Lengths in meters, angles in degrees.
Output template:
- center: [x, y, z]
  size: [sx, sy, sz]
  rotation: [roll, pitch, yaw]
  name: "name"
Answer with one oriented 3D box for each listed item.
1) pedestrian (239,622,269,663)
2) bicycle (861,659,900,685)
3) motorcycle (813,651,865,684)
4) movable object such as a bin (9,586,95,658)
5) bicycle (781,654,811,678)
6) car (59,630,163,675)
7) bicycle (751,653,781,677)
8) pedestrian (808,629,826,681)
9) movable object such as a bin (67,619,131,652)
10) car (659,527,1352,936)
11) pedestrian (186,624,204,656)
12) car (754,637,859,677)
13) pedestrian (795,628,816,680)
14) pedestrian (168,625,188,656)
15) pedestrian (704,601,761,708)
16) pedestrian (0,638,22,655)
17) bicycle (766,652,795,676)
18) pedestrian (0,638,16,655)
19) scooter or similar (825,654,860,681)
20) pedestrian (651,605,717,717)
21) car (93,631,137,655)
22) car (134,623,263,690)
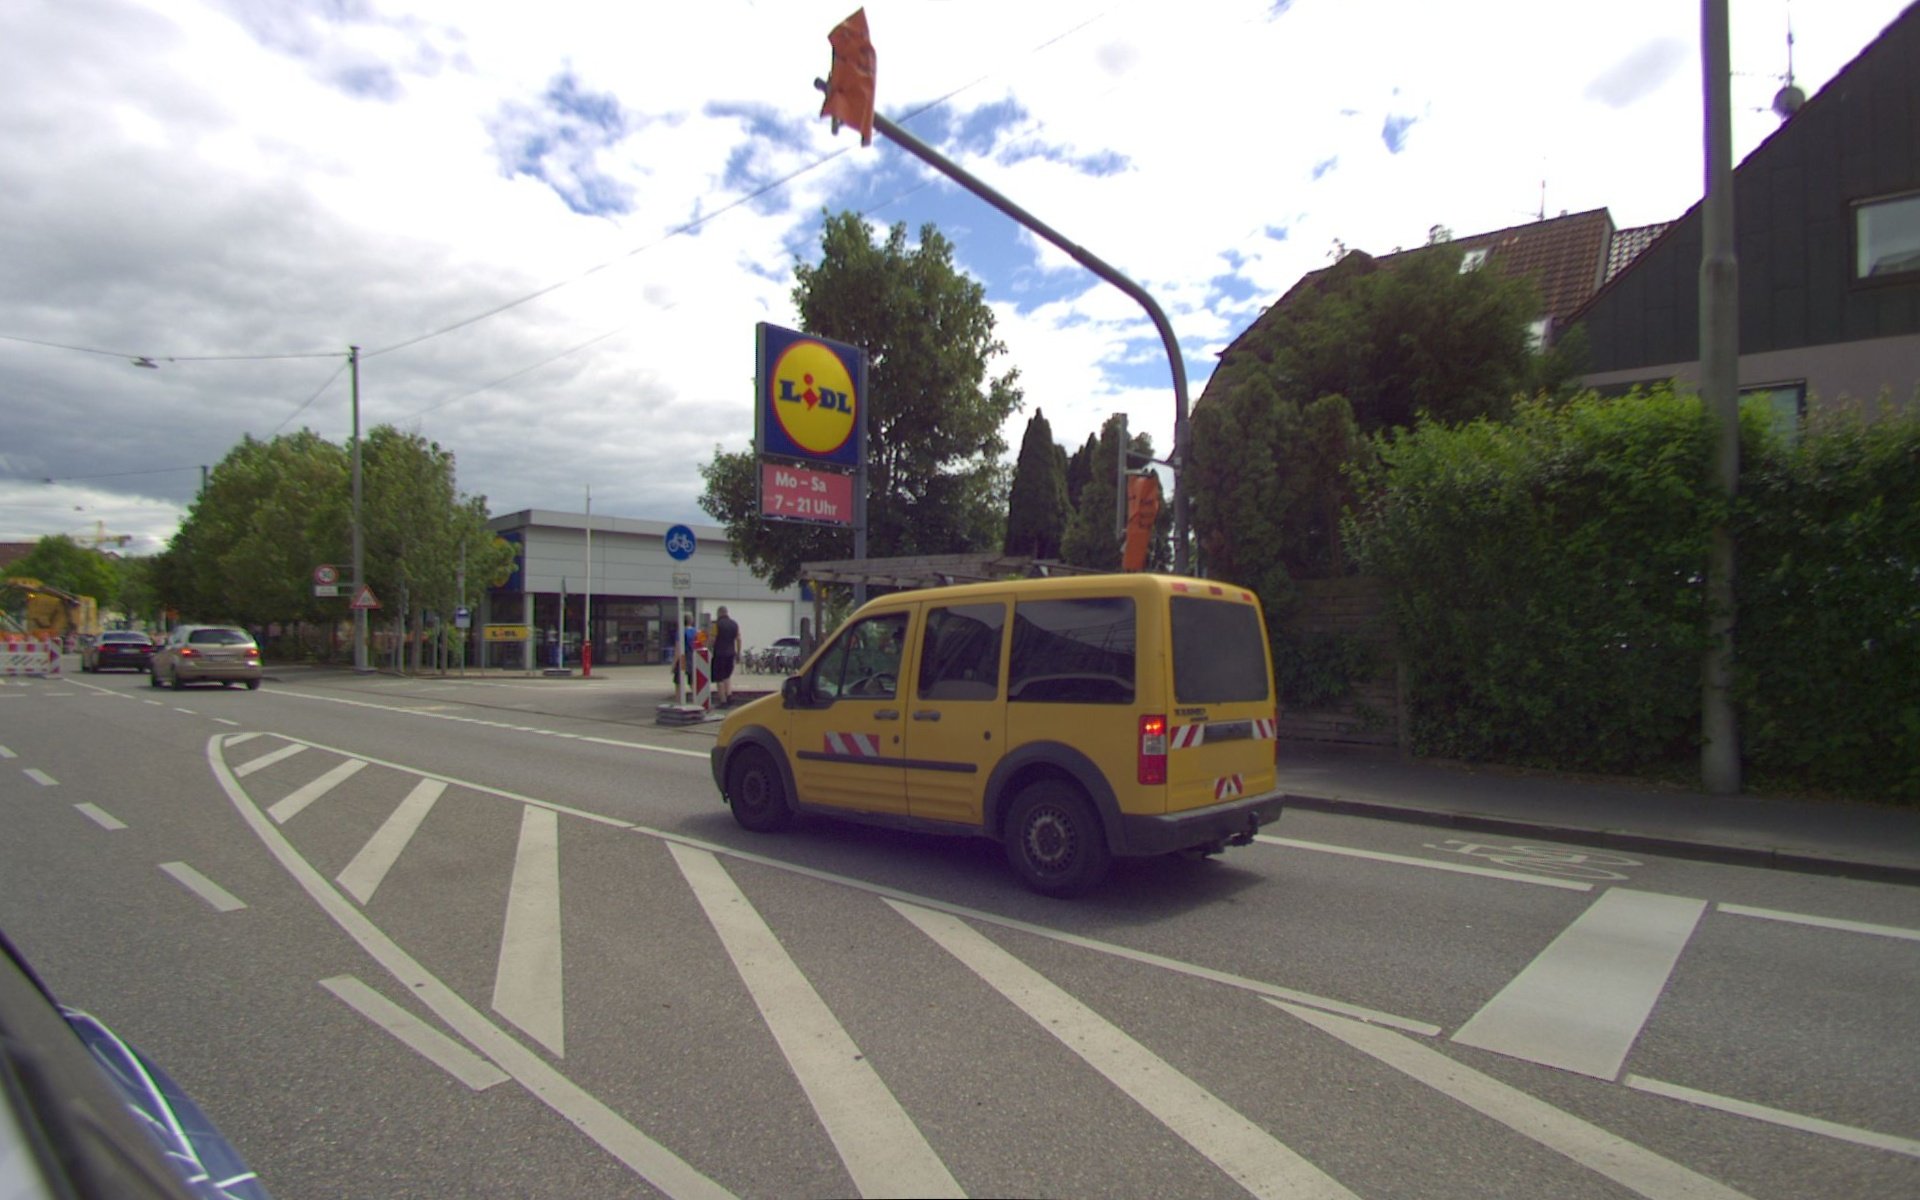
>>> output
- center: [-27.910, 1.674, 40.016]
  size: [0.829, 1.615, 0.745]
  rotation: [-1, -3, 39]
  name: "pedestrian"
- center: [-2.996, 2.707, 38.246]
  size: [1.631, 0.964, 0.314]
  rotation: [3, -4, -43]
  name: "bicycle"
- center: [-4.627, 2.577, 38.796]
  size: [1.926, 1.202, 0.862]
  rotation: [1, -3, -4]
  name: "motorcycle"
- center: [-58.815, 1.525, 65.810]
  size: [2.556, 4.254, 11.149]
  rotation: [3, -3, -34]
  name: "movable object such as a bin"
- center: [-6.747, 2.713, 41.732]
  size: [0.346, 0.964, 1.873]
  rotation: [0, -3, 18]
  name: "bicycle"
- center: [-29.383, 1.792, 34.987]
  size: [4.809, 1.410, 1.972]
  rotation: [-1, -5, 41]
  name: "car"
- center: [-8.156, 2.733, 42.520]
  size: [0.346, 0.964, 1.873]
  rotation: [0, -3, 18]
  name: "bicycle"
- center: [-5.223, 2.000, 36.914]
  size: [0.601, 1.873, 0.423]
  rotation: [1, -3, -13]
  name: "pedestrian"
- center: [-73.701, 3.091, 86.749]
  size: [1.965, 2.646, 6.543]
  rotation: [2, -3, -20]
  name: "movable object such as a bin"
- center: [0.035, 0.693, 7.016]
  size: [4.683, 1.919, 1.822]
  rotation: [-1, -3, 41]
  name: "car"
- center: [-45.111, 2.373, 59.698]
  size: [0.616, 1.861, 0.624]
  rotation: [2, -3, -20]
  name: "pedestrian"
- center: [-6.801, 2.469, 44.478]
  size: [4.670, 1.584, 1.973]
  rotation: [-1, -3, 40]
  name: "car"
- center: [-5.554, 1.934, 36.290]
  size: [0.611, 1.873, 0.417]
  rotation: [-2, -4, 39]
  name: "pedestrian"
- center: [-46.118, 2.388, 59.697]
  size: [0.685, 1.861, 0.624]
  rotation: [2, -3, -20]
  name: "pedestrian"
- center: [-4.094, 0.975, 18.194]
  size: [0.706, 1.868, 0.674]
  rotation: [-1, -3, 41]
  name: "pedestrian"
- center: [-55.653, 2.741, 59.318]
  size: [0.632, 0.998, 0.795]
  rotation: [1, -3, -10]
  name: "pedestrian"
- center: [-7.462, 2.653, 42.116]
  size: [0.346, 0.964, 1.873]
  rotation: [0, -3, 18]
  name: "bicycle"
- center: [-56.532, 2.738, 59.793]
  size: [0.779, 0.998, 0.814]
  rotation: [2, -3, -20]
  name: "pedestrian"
- center: [-4.302, 2.454, 36.990]
  size: [1.209, 0.950, 0.657]
  rotation: [1, -3, -12]
  name: "scooter or similar"
- center: [-4.769, 1.036, 17.480]
  size: [0.892, 1.868, 0.674]
  rotation: [-1, -3, 41]
  name: "pedestrian"
- center: [-54.997, 2.808, 65.877]
  size: [1.833, 1.525, 4.002]
  rotation: [3, -3, -44]
  name: "car"
- center: [-19.458, 1.400, 25.790]
  size: [4.400, 1.567, 1.731]
  rotation: [-2, -4, 41]
  name: "car"
